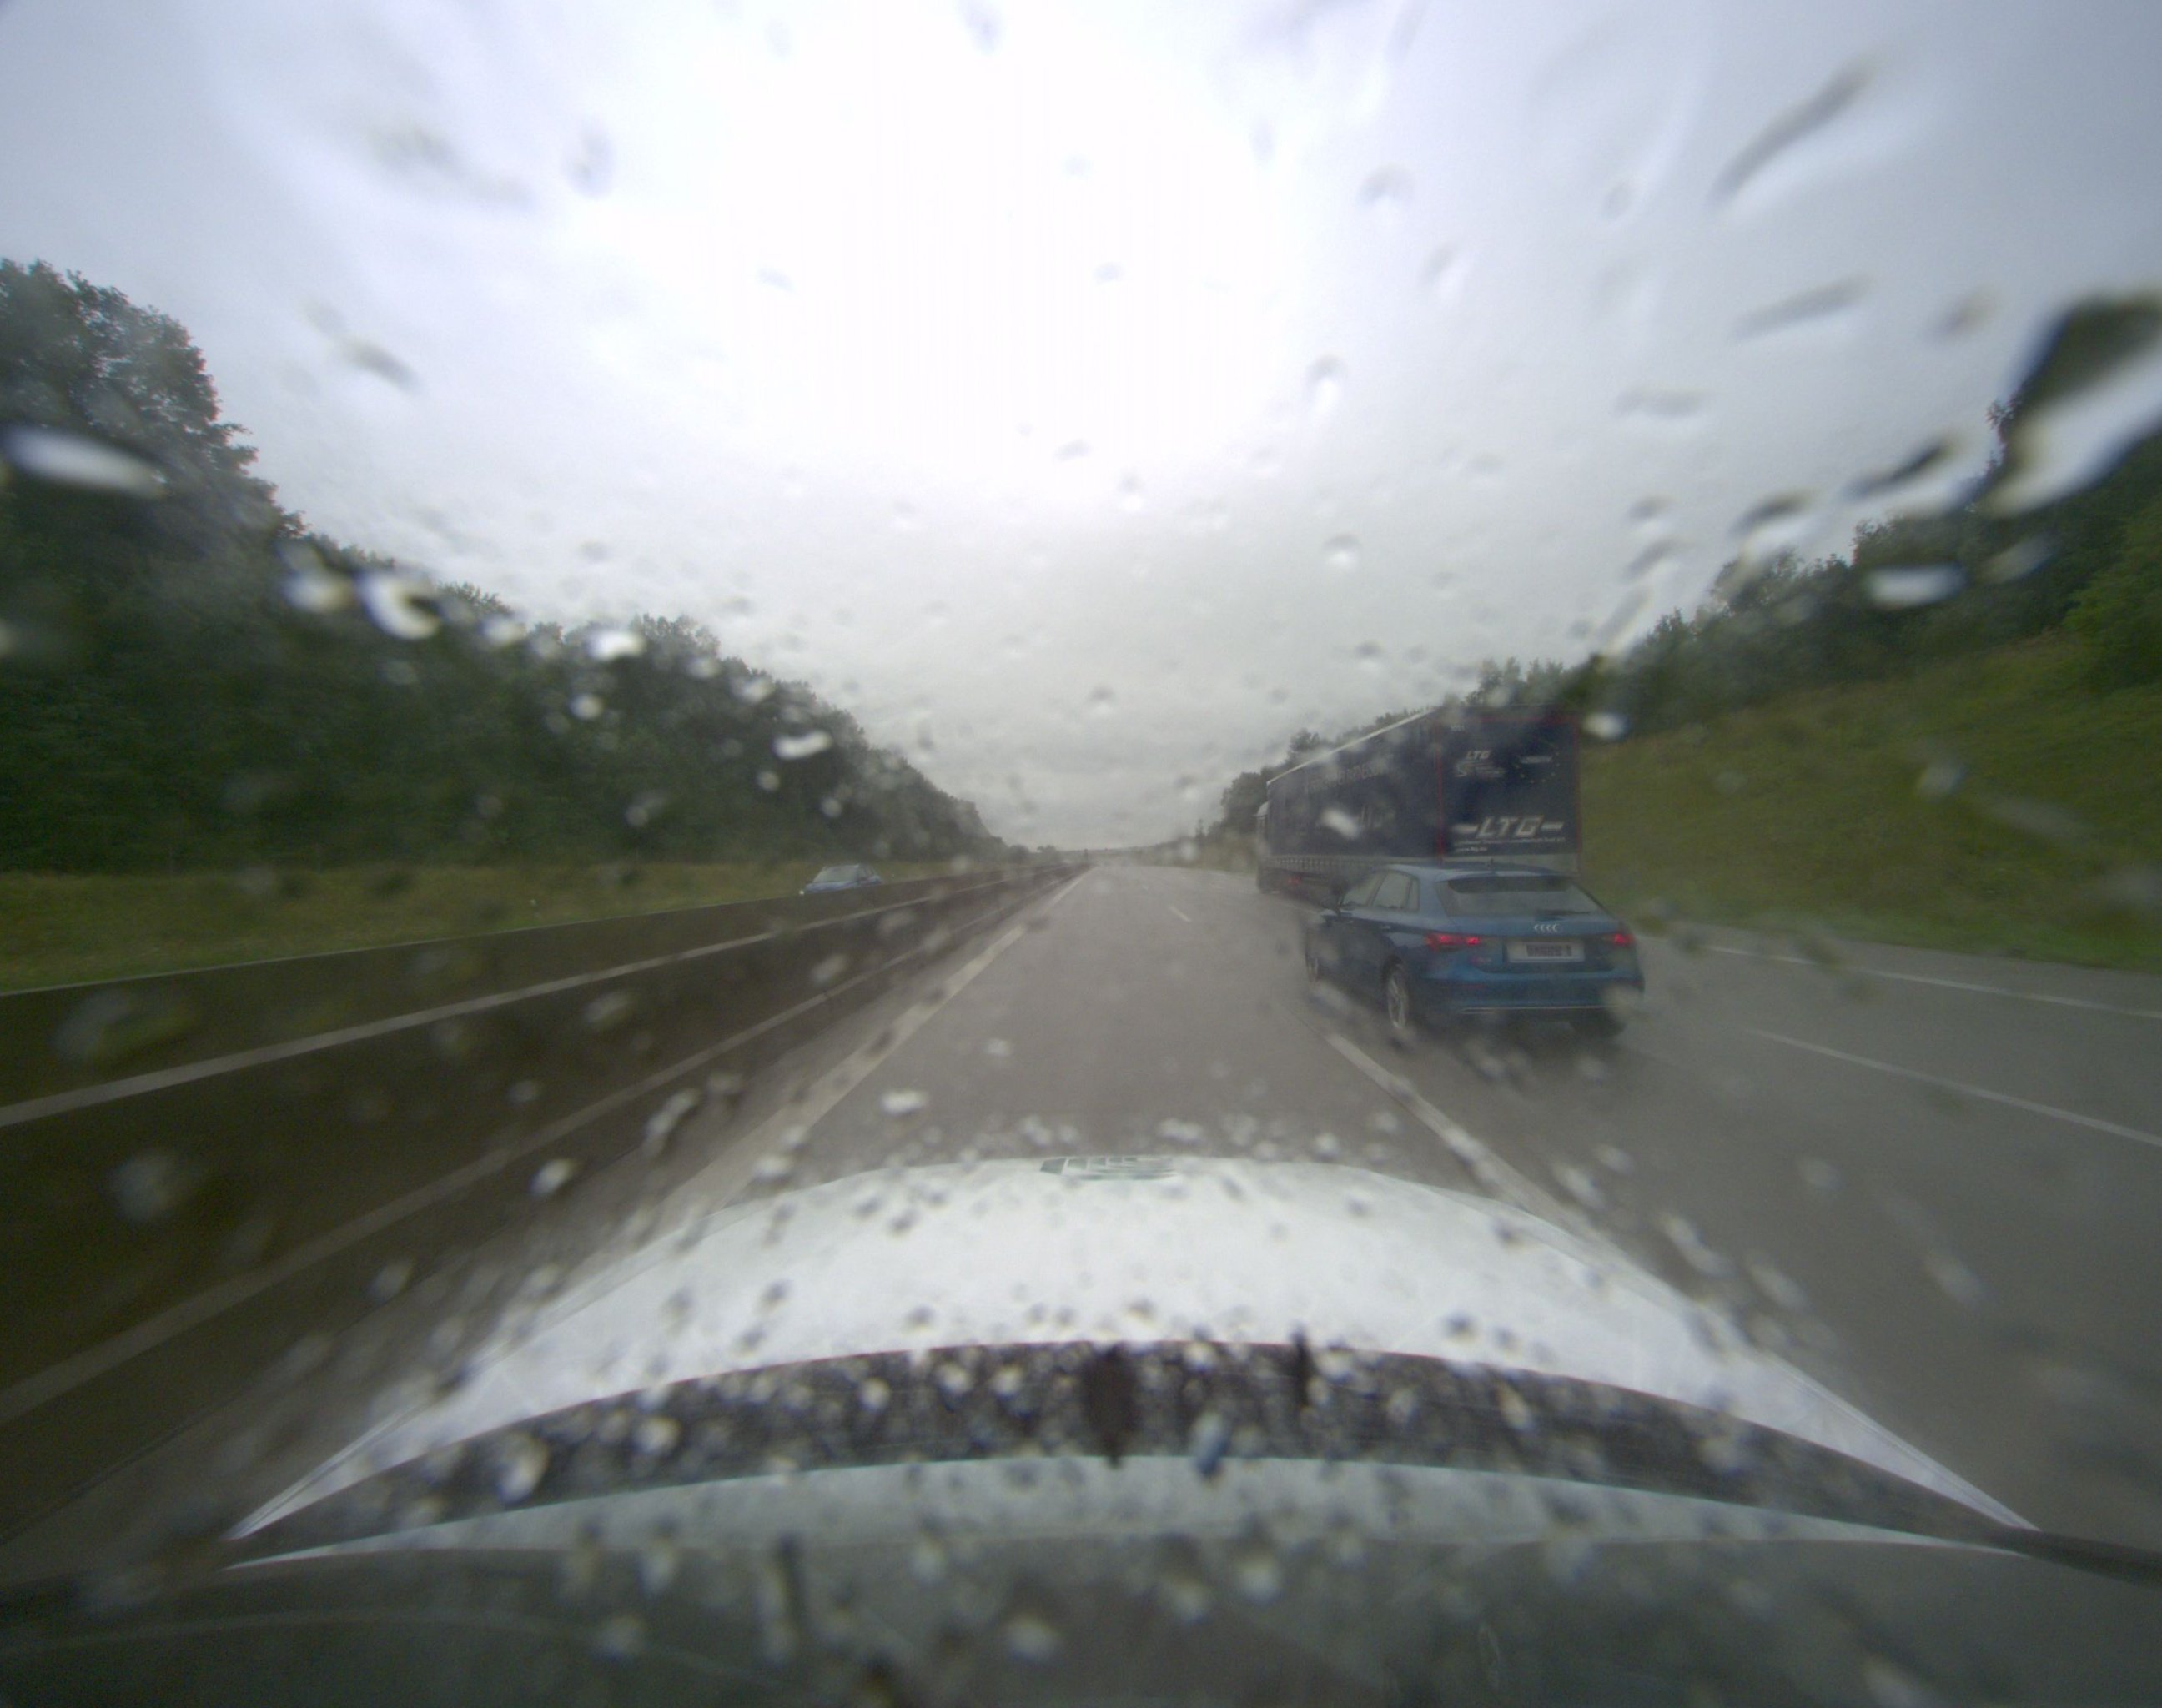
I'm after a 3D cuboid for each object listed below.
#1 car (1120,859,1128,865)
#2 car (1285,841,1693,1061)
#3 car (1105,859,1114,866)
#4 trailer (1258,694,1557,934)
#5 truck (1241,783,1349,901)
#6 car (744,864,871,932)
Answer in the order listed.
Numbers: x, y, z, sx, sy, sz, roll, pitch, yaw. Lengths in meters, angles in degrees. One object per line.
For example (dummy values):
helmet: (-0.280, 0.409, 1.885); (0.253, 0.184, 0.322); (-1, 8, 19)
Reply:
car: (9.483, 1.780, 180.328); (1.840, 1.331, 4.432); (-1, 0, 2)
car: (3.404, 0.710, 7.970); (1.723, 1.459, 4.674); (-2, -1, 2)
car: (5.896, 1.781, 168.386); (1.723, 1.331, 4.431); (-1, 0, 2)
trailer: (7.628, -0.691, 22.533); (2.696, 4.379, 15.212); (0, 0, 2)
truck: (7.833, -0.400, 30.490); (2.627, 3.954, 5.687); (-1, 0, 1)
car: (-7.461, 1.132, 22.718); (1.766, 1.575, 4.689); (-2, 0, 2)
